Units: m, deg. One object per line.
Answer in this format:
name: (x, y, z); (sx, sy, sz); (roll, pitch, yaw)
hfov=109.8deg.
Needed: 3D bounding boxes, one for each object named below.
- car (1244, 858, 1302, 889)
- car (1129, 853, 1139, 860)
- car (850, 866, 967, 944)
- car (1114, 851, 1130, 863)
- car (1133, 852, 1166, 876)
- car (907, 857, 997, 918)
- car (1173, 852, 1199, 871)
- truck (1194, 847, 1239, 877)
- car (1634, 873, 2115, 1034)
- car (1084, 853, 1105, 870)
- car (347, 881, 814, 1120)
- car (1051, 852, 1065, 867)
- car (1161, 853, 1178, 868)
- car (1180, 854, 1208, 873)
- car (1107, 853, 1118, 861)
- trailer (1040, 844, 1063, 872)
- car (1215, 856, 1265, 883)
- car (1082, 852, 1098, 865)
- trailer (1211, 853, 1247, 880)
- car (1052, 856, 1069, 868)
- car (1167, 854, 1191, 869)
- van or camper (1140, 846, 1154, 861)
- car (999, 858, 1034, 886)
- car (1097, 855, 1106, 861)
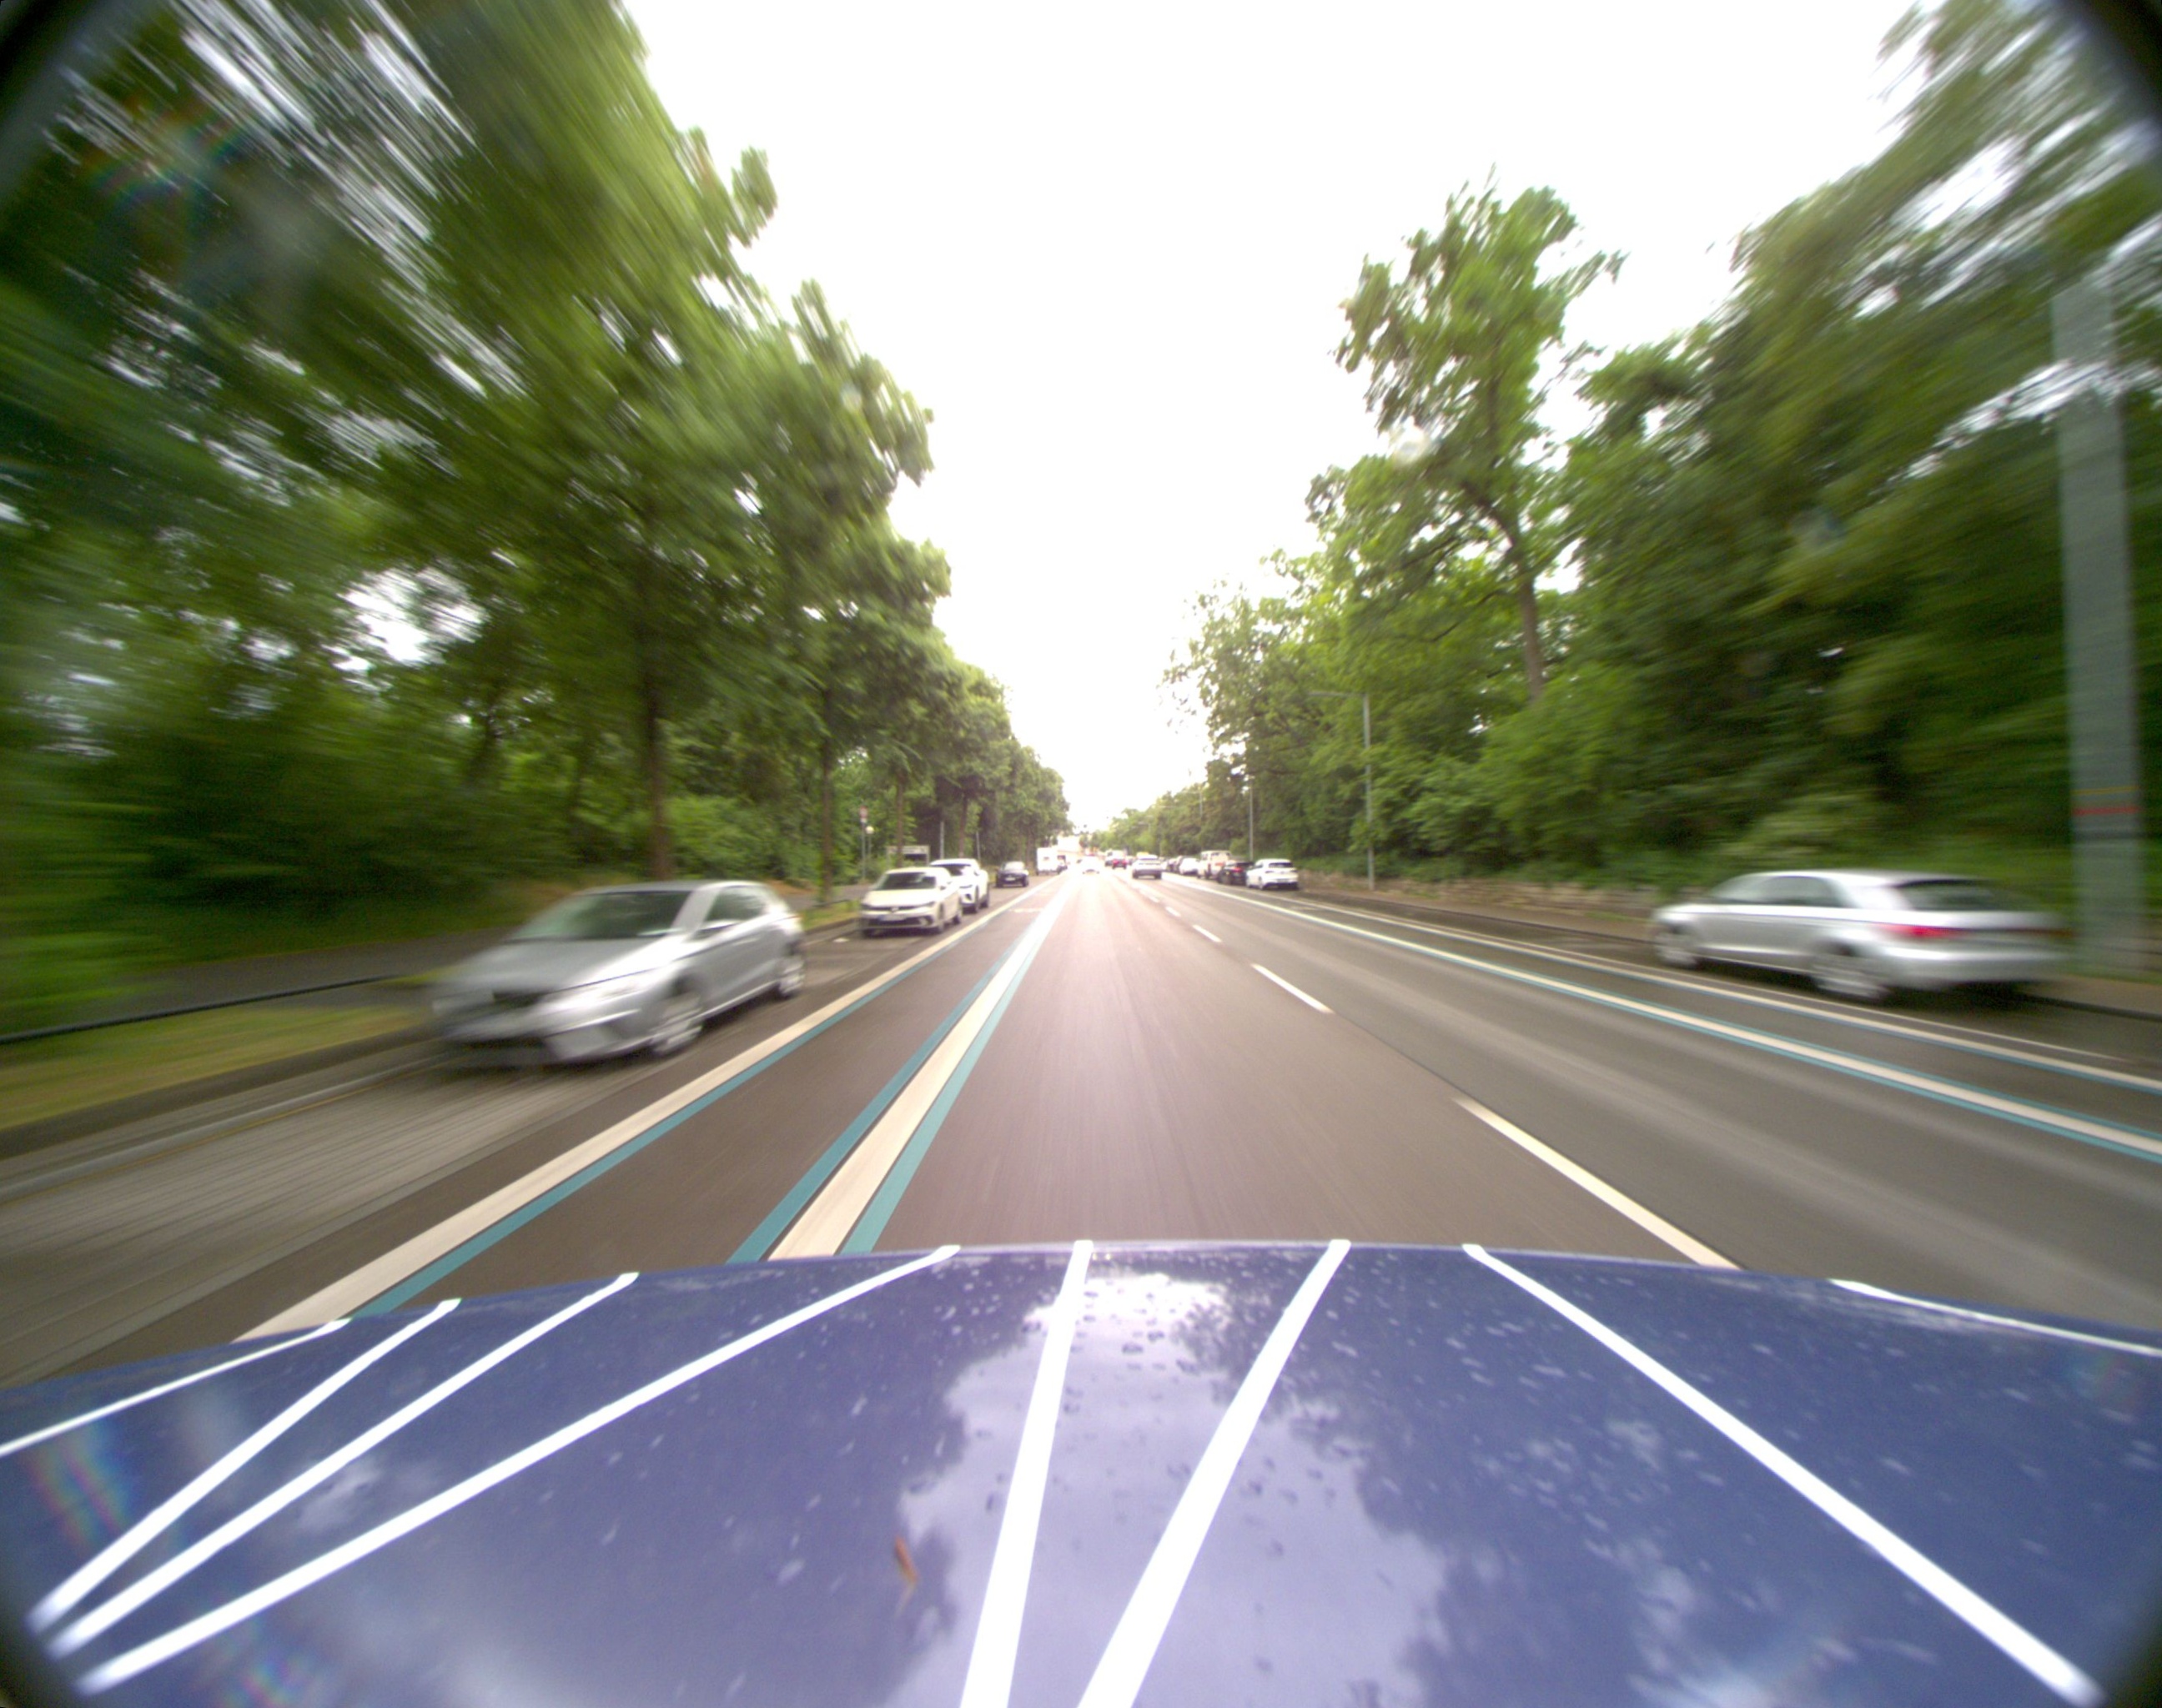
car: (9.414, 0.917, 37.594); (1.759, 1.427, 4.356); (-1, 0, -1)
car: (11.026, 0.543, 156.979); (1.825, 1.427, 3.559); (-1, 0, 1)
car: (-3.798, 1.073, 17.431); (1.702, 1.445, 3.946); (-2, 0, 0)
car: (5.614, 0.435, 105.350); (2.043, 1.639, 4.477); (0, 0, 1)
car: (4.843, 0.693, 54.200); (1.958, 1.629, 4.445); (1, 0, 1)
car: (-3.939, 0.970, 23.942); (1.998, 1.652, 4.562); (-1, 0, 0)
car: (9.837, 0.673, 71.310); (1.740, 1.651, 4.673); (-1, 0, 0)
truck: (9.642, 0.524, 54.650); (2.099, 2.002, 5.158); (-1, 0, -2)
car: (9.044, 1.006, 9.274); (1.694, 1.397, 4.028); (-2, 0, 2)
car: (1.295, 0.724, 73.518); (1.998, 1.589, 4.000); (-2, 0, 1)
car: (-4.192, 1.088, 7.319); (1.702, 1.445, 4.097); (-2, 0, 0)
car: (-3.591, 0.864, 120.443); (1.998, 2.231, 4.000); (-2, 1, 1)
car: (9.645, 0.702, 83.009); (1.527, 1.584, 2.860); (0, 0, 0)
car: (9.583, 0.750, 64.783); (1.811, 1.489, 4.753); (0, 1, 1)
car: (5.811, 0.536, 140.653); (1.769, 1.449, 4.496); (1, 0, 1)
trailer: (-2.809, 0.362, 72.548); (1.988, 2.550, 3.999); (-2, 0, -2)
car: (9.157, 0.858, 44.047); (1.826, 1.390, 4.444); (-1, 0, -2)
car: (1.192, 0.596, 97.397); (1.998, 1.629, 4.000); (0, 1, 1)
trailer: (9.601, 0.788, 49.268); (1.347, 1.647, 2.271); (0, 1, 39)
car: (-2.409, 0.930, 89.919); (1.804, 1.455, 4.000); (-1, 0, 0)
car: (9.946, 0.751, 77.480); (1.901, 1.466, 4.553); (-1, 0, 0)
van or camper: (11.154, -0.144, 128.693); (2.165, 2.437, 4.436); (-1, 0, 1)
car: (-3.670, 1.002, 43.505); (1.700, 1.468, 3.997); (-1, 0, -1)
car: (4.916, 0.891, 184.284); (1.805, 1.394, 3.999); (-1, 0, -3)
